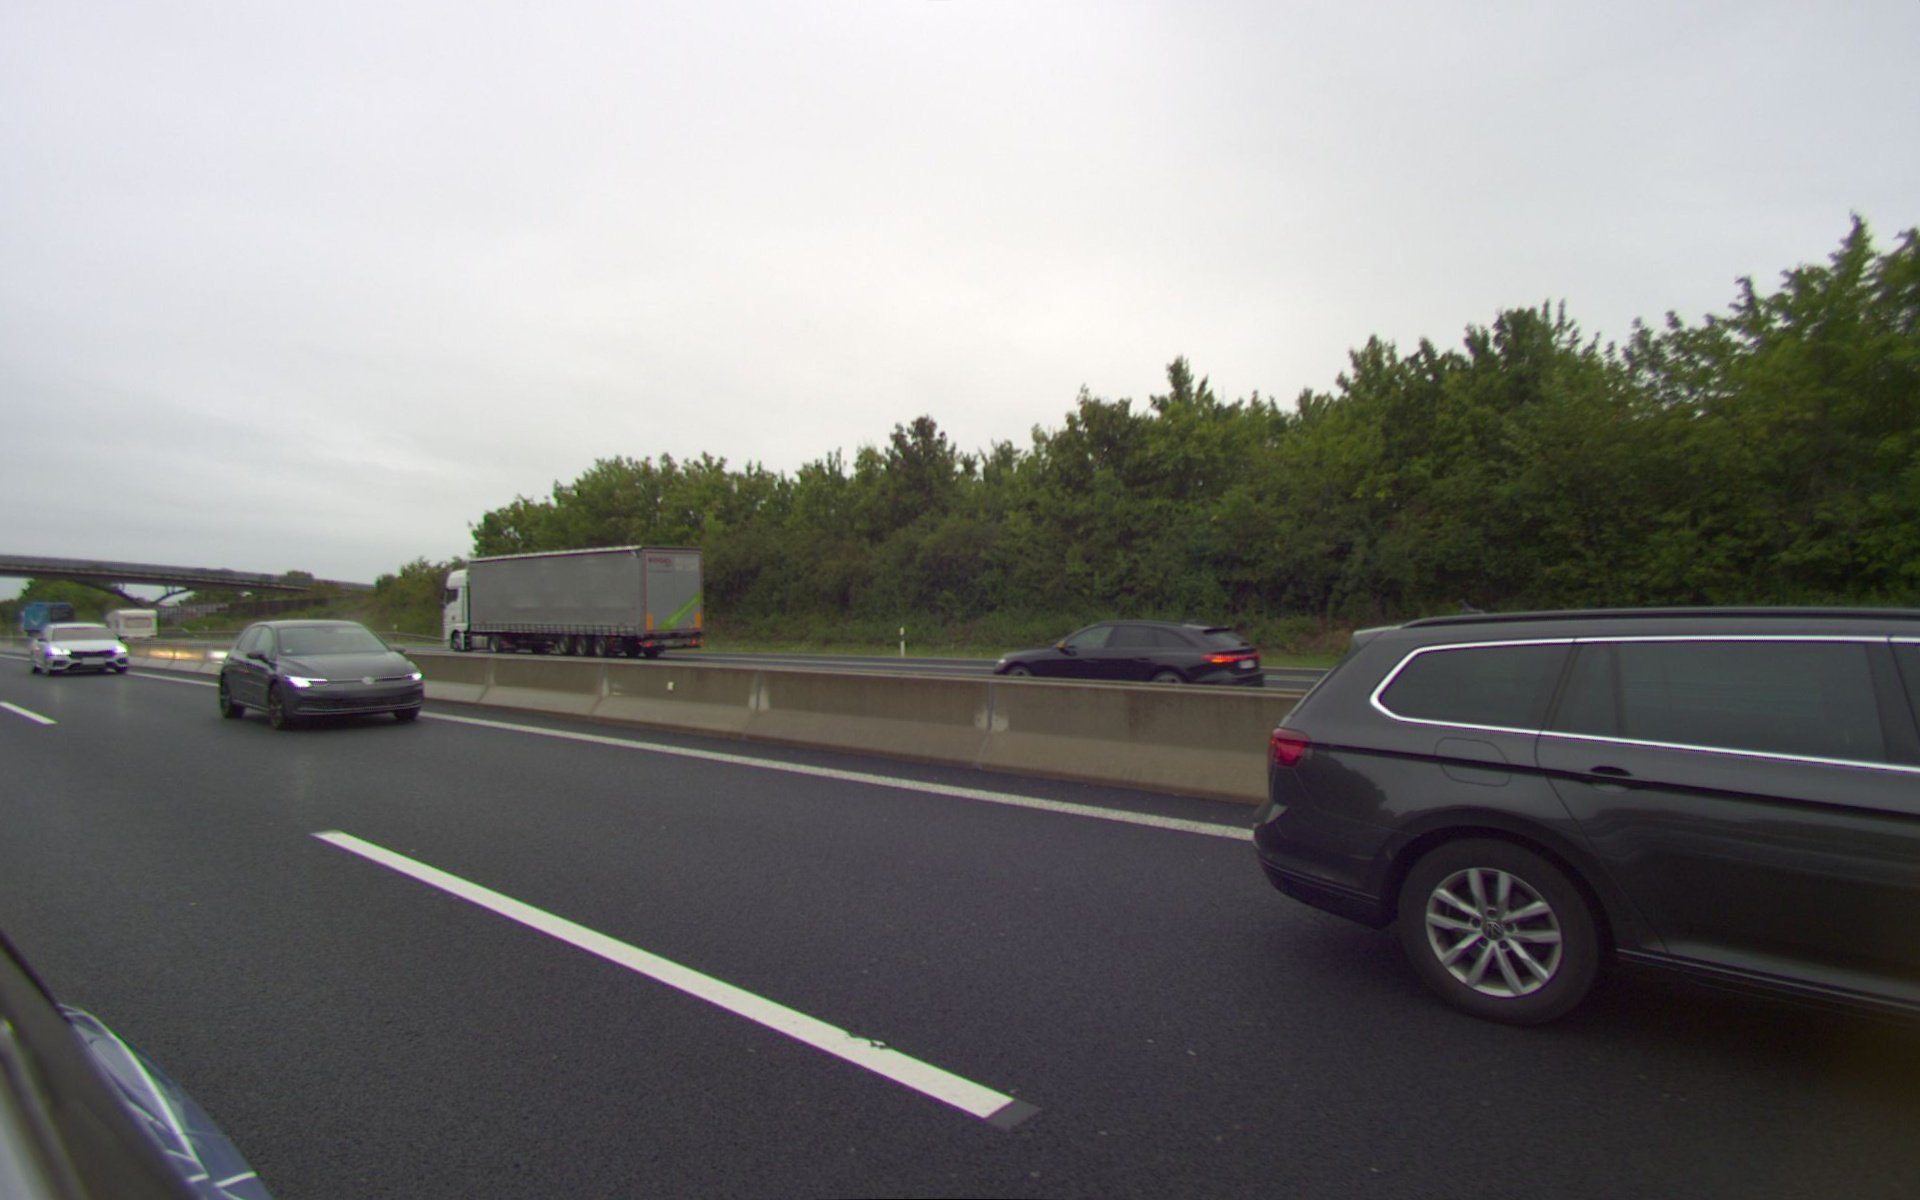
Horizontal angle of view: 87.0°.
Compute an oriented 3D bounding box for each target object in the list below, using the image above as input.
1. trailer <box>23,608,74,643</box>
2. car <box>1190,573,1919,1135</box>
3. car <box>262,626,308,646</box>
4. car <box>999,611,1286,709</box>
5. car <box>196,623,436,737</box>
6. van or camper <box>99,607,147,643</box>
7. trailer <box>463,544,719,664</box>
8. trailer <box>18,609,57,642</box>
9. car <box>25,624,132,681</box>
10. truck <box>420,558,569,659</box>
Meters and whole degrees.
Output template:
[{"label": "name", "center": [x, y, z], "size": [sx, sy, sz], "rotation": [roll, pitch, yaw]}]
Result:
[{"label": "trailer", "center": [-112.246, 3.164, 124.514], "size": [13.513, 4.114, 2.761], "rotation": [-1, -2, 40]}, {"label": "car", "center": [3.384, 0.685, 3.261], "size": [4.849, 1.508, 1.880], "rotation": [-1, -2, 41]}, {"label": "car", "center": [-46.552, 2.476, 69.780], "size": [3.920, 1.304, 1.671], "rotation": [-2, -2, 40]}, {"label": "car", "center": [2.932, 0.923, 16.845], "size": [4.378, 1.416, 1.880], "rotation": [-1, -2, 42]}, {"label": "car", "center": [-9.606, 1.070, 14.957], "size": [4.458, 1.416, 1.880], "rotation": [-1, -2, 42]}, {"label": "van or camper", "center": [-59.850, 1.797, 72.357], "size": [5.544, 2.488, 1.776], "rotation": [-2, -2, 41]}, {"label": "trailer", "center": [-15.103, 0.286, 40.257], "size": [13.835, 4.114, 3.226], "rotation": [-1, -2, 41]}, {"label": "trailer", "center": [-117.412, 3.295, 128.790], "size": [6.036, 4.114, 2.762], "rotation": [-1, -2, 39]}, {"label": "car", "center": [-25.516, 1.457, 29.252], "size": [4.113, 1.518, 1.880], "rotation": [-1, -2, 42]}, {"label": "truck", "center": [-20.875, 0.433, 45.211], "size": [7.436, 4.114, 3.226], "rotation": [-2, -2, 41]}]
